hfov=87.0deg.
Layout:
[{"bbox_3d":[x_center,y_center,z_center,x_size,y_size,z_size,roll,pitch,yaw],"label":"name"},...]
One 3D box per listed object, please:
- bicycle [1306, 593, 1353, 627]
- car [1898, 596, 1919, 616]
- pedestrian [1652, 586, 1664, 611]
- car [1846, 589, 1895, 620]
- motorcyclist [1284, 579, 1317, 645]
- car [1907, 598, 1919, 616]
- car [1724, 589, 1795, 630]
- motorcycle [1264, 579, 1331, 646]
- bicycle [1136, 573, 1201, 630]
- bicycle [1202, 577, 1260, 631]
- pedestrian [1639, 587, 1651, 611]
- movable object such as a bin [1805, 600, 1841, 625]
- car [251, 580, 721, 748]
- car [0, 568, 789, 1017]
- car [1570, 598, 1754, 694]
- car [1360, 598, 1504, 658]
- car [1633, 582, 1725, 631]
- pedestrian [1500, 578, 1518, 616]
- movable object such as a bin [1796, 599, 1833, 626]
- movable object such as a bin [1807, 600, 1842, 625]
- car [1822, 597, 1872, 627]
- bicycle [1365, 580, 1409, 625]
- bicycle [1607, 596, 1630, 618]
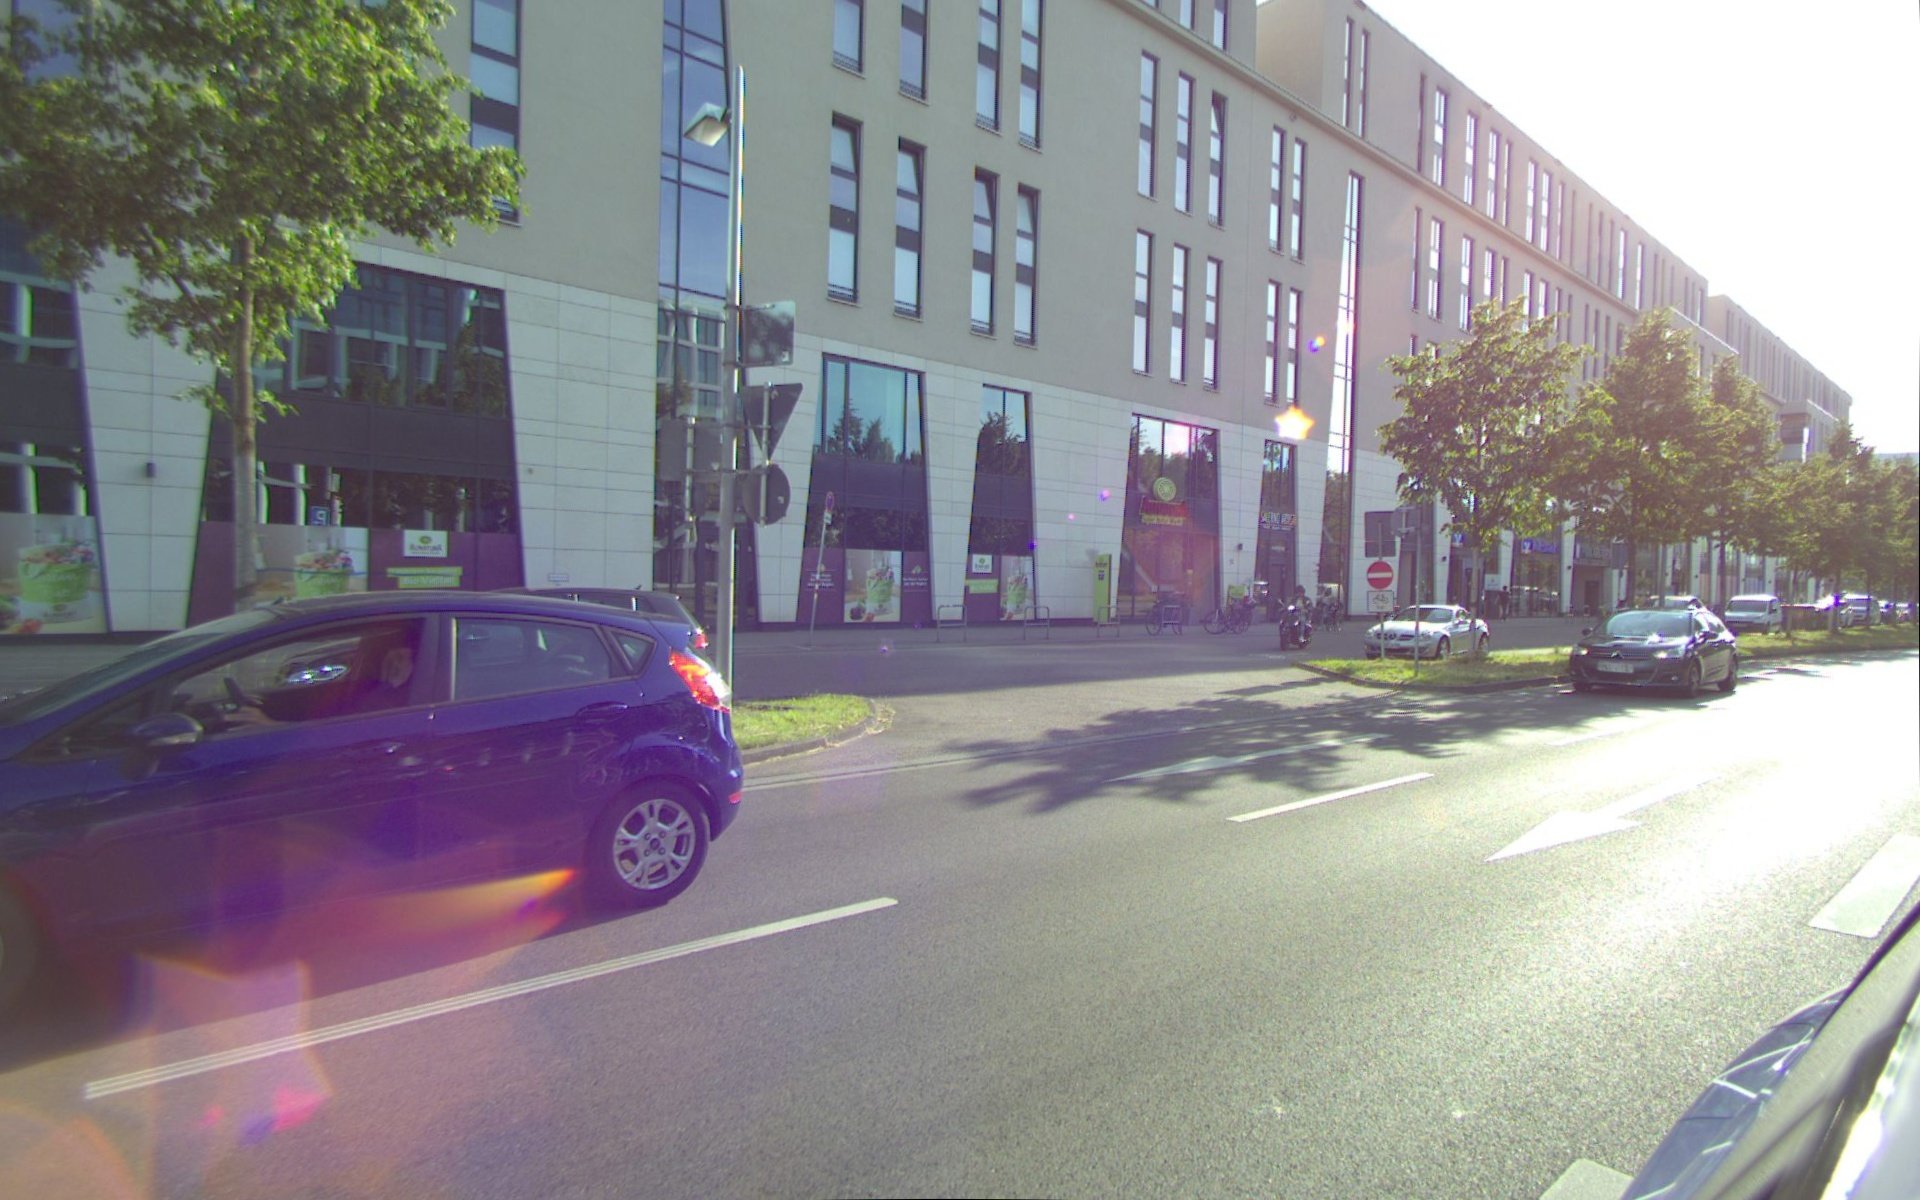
[{"bbox_3d":[12.684,0.335,34.695,1.871,1.097,0.635,0,2,-40],"label":"bicycle"},{"bbox_3d":[68.974,0.419,73.071,4.098,1.430,1.617,-1,0,-43],"label":"car"},{"bbox_3d":[45.159,-0.094,65.460,0.533,1.594,0.512,0,0,21],"label":"pedestrian"},{"bbox_3d":[58.825,0.271,65.349,4.945,1.899,1.840,-1,0,-42],"label":"car"},{"bbox_3d":[8.909,0.306,26.478,0.411,1.660,0.624,0,3,-44],"label":"motorcyclist"},{"bbox_3d":[80.554,0.562,84.546,4.043,1.450,1.731,-1,0,-42],"label":"car"},{"bbox_3d":[35.529,0.377,44.947,4.223,1.733,1.829,-1,0,-43],"label":"car"},{"bbox_3d":[8.817,0.293,26.393,1.978,1.636,0.702,-1,5,-43],"label":"motorcycle"},{"bbox_3d":[6.017,0.030,29.108,2.236,1.590,0.556,-1,0,-40],"label":"bicycle"},{"bbox_3d":[8.291,0.102,30.911,2.173,1.587,0.556,-1,0,-40],"label":"bicycle"},{"bbox_3d":[44.588,-0.054,65.896,0.587,1.541,0.514,0,0,-41],"label":"pedestrian"},{"bbox_3d":[43.661,0.624,51.217,1.172,1.252,1.278,0,0,-44],"label":"movable object such as a bin"},{"bbox_3d":[-4.666,0.509,10.302,4.084,1.388,1.610,-1,0,-40],"label":"car"},{"bbox_3d":[-2.830,0.620,4.514,3.839,1.442,1.562,0,0,-41],"label":"car"},{"bbox_3d":[12.308,0.710,17.659,3.968,1.442,1.697,-1,0,-41],"label":"car"},{"bbox_3d":[11.152,0.600,23.807,3.838,1.258,1.711,-1,1,-42],"label":"car"},{"bbox_3d":[26.848,0.239,37.738,4.597,1.730,1.899,1,0,-42],"label":"car"},{"bbox_3d":[26.095,-0.132,48.100,0.635,1.785,0.538,0,0,-40],"label":"pedestrian"},{"bbox_3d":[42.639,0.618,50.503,1.159,1.307,1.278,0,0,-44],"label":"movable object such as a bin"},{"bbox_3d":[44.583,0.614,52.198,1.172,1.252,1.278,0,0,-44],"label":"movable object such as a bin"},{"bbox_3d":[51.741,0.663,59.007,4.769,1.650,1.732,0,2,-43],"label":"car"},{"bbox_3d":[15.939,0.072,37.744,2.173,1.639,0.556,-1,0,-40],"label":"bicycle"},{"bbox_3d":[35.215,0.381,54.148,1.911,1.130,0.493,-1,2,-41],"label":"bicycle"}]
